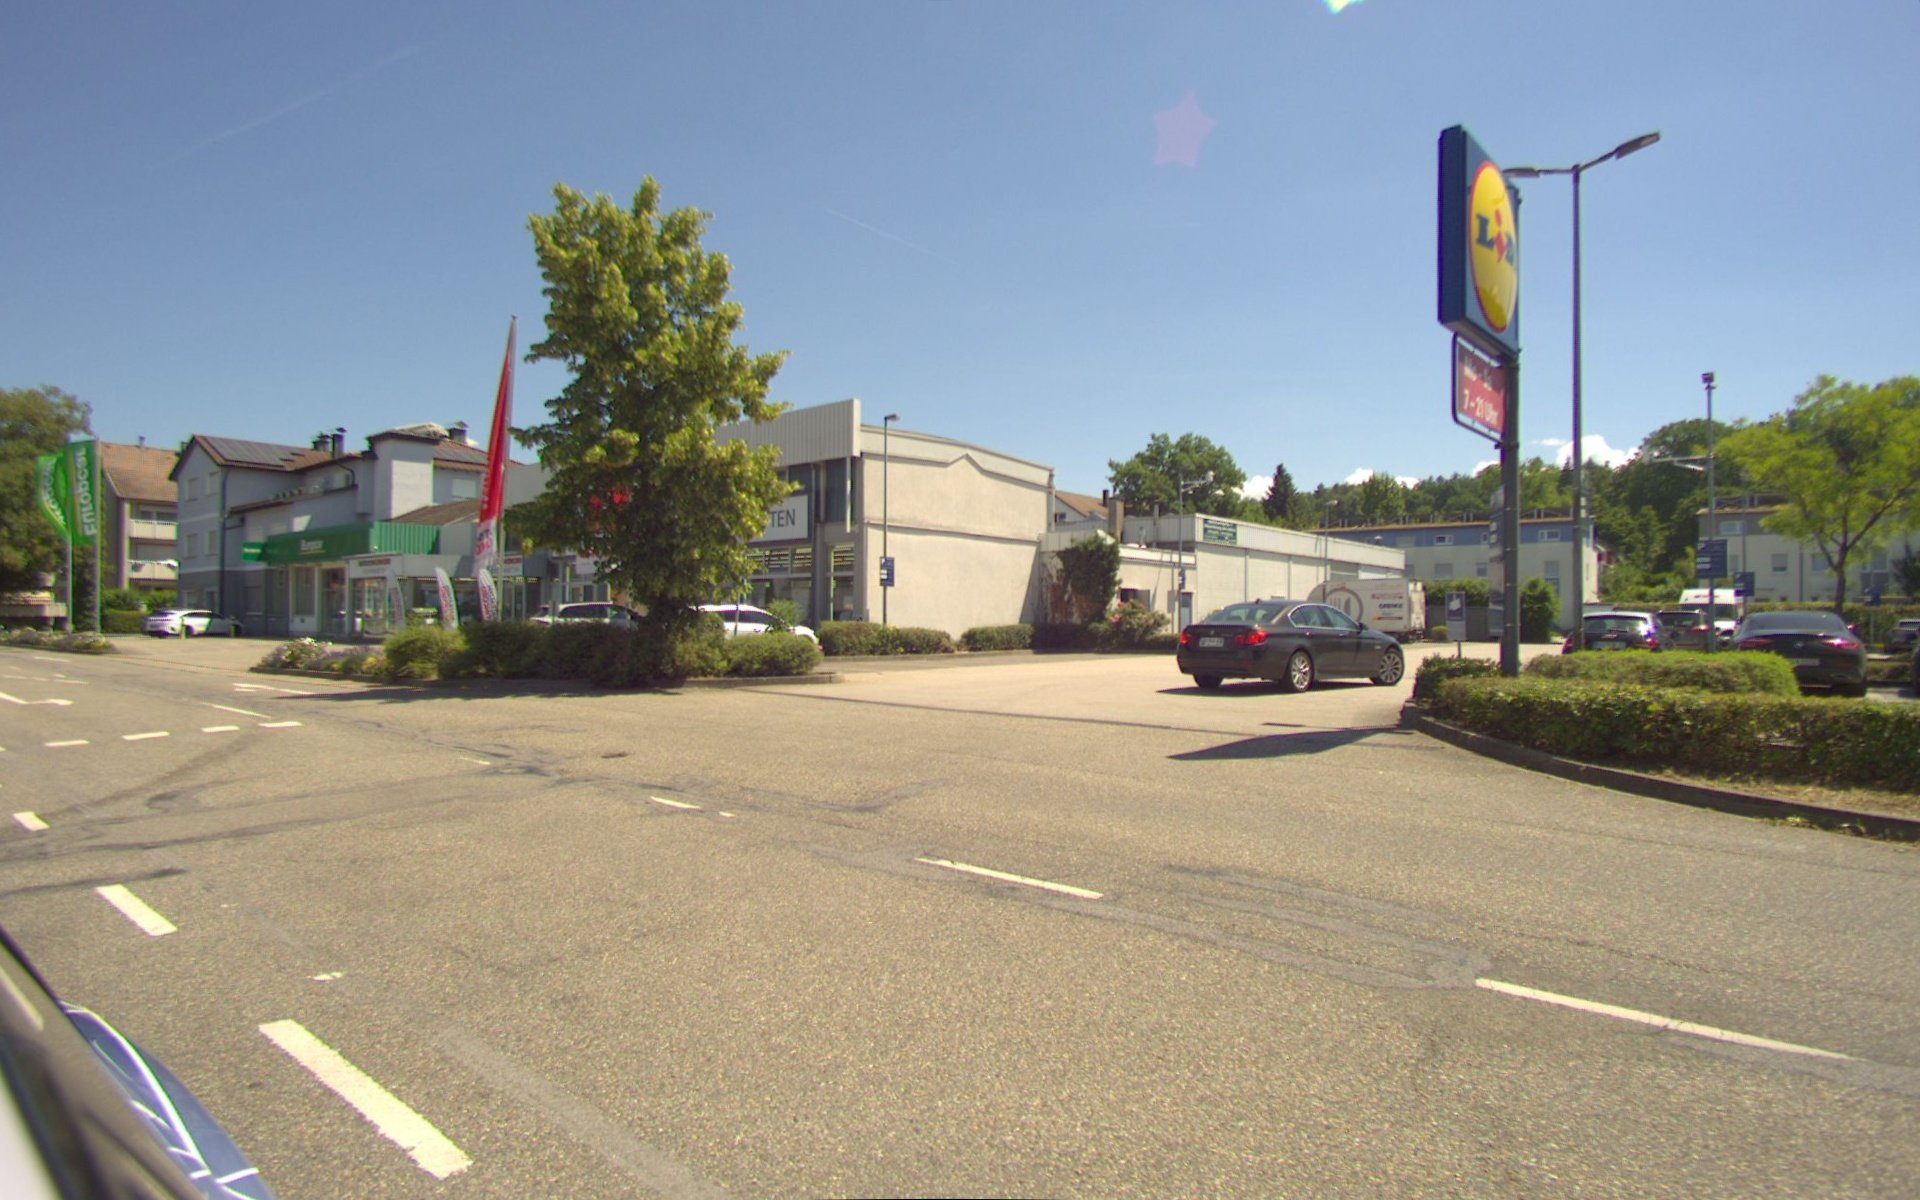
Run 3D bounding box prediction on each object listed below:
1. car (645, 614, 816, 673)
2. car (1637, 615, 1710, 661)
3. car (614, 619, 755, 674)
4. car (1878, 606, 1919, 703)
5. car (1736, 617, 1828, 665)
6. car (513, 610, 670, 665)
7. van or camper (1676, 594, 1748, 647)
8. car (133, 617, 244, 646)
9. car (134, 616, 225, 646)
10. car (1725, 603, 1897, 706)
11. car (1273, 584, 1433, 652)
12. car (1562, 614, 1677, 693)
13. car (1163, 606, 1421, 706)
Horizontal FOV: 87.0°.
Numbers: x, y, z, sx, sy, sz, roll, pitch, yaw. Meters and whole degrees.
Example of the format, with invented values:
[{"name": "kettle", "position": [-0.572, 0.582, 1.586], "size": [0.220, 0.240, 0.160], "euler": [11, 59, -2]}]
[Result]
[{"name": "car", "position": [-6.251, 1.142, 27.761], "size": [4.129, 1.457, 1.984], "euler": [0, -1, -37]}, {"name": "car", "position": [23.834, 1.229, 33.917], "size": [1.764, 1.379, 4.202], "euler": [0, 0, 32]}, {"name": "car", "position": [-8.124, 1.331, 29.907], "size": [3.577, 1.486, 2.005], "euler": [0, -1, -34]}, {"name": "car", "position": [17.169, 0.905, 16.966], "size": [1.906, 1.618, 4.278], "euler": [0, 0, 32]}, {"name": "car", "position": [26.182, 1.258, 32.364], "size": [1.764, 1.379, 4.202], "euler": [0, 0, 32]}, {"name": "car", "position": [-11.998, 1.180, 33.050], "size": [4.469, 1.676, 2.005], "euler": [0, -1, -34]}, {"name": "van or camper", "position": [29.163, 0.751, 39.201], "size": [2.008, 1.951, 4.317], "euler": [-1, 0, 40]}, {"name": "car", "position": [-39.939, 1.596, 52.523], "size": [1.921, 1.450, 4.334], "euler": [-1, -1, 14]}, {"name": "car", "position": [-42.651, 1.672, 55.365], "size": [1.966, 1.577, 3.528], "euler": [-1, -1, 36]}, {"name": "car", "position": [14.911, 0.857, 17.965], "size": [1.764, 1.601, 4.202], "euler": [0, 0, 32]}, {"name": "car", "position": [16.500, 0.724, 42.689], "size": [5.895, 2.647, 2.258], "euler": [-1, 0, 40]}, {"name": "car", "position": [13.243, 0.998, 20.425], "size": [1.764, 1.379, 4.202], "euler": [0, 0, 32]}, {"name": "car", "position": [5.595, 0.821, 16.770], "size": [4.615, 1.411, 1.942], "euler": [0, 0, -40]}]
